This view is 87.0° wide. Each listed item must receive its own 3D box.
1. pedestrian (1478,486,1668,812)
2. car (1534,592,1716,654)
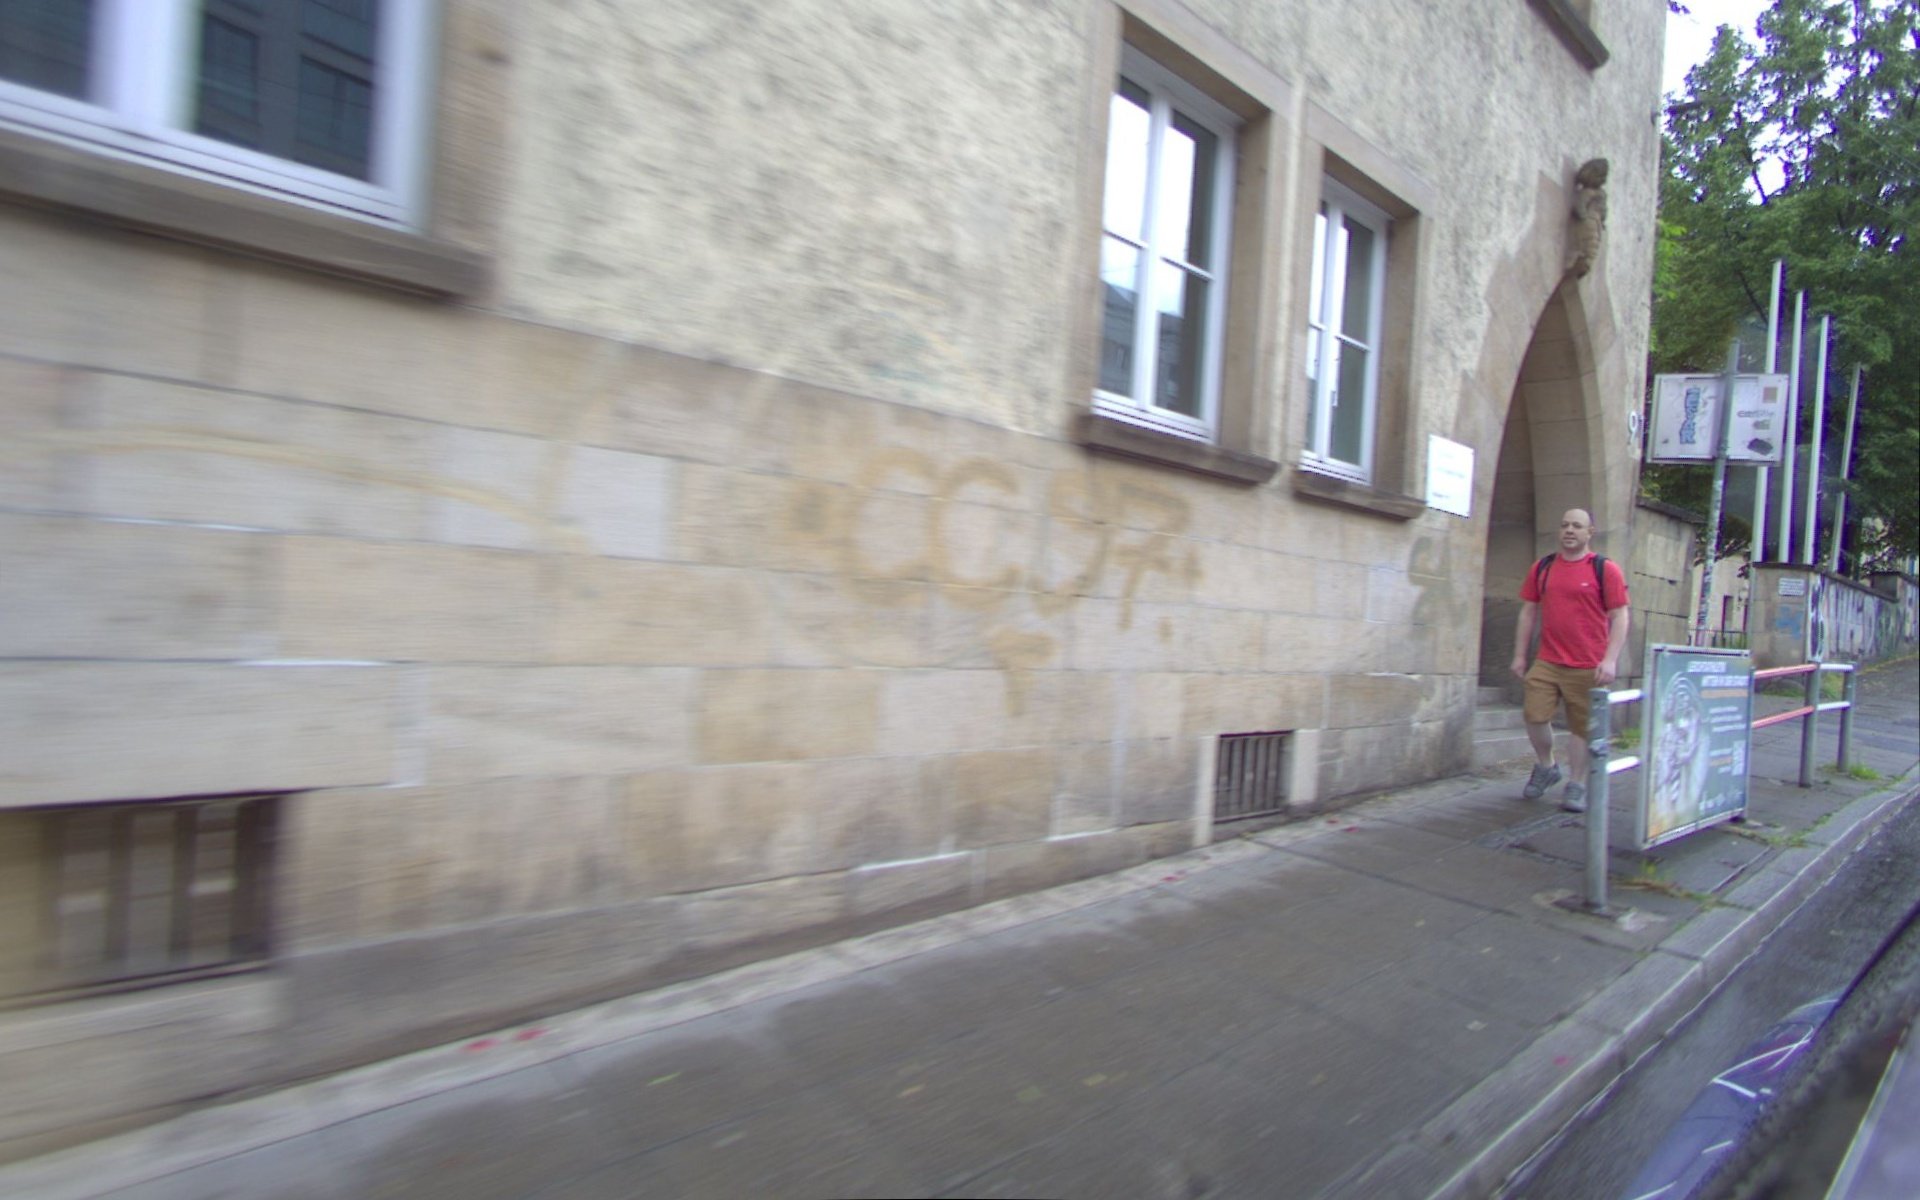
[{"bbox_3d":[3.678,0.256,6.076,0.804,1.786,0.748,0,1,-41],"label":"pedestrian"},{"bbox_3d":[21.057,0.677,32.277,1.786,1.802,4.538,-1,0,-29],"label":"car"}]
